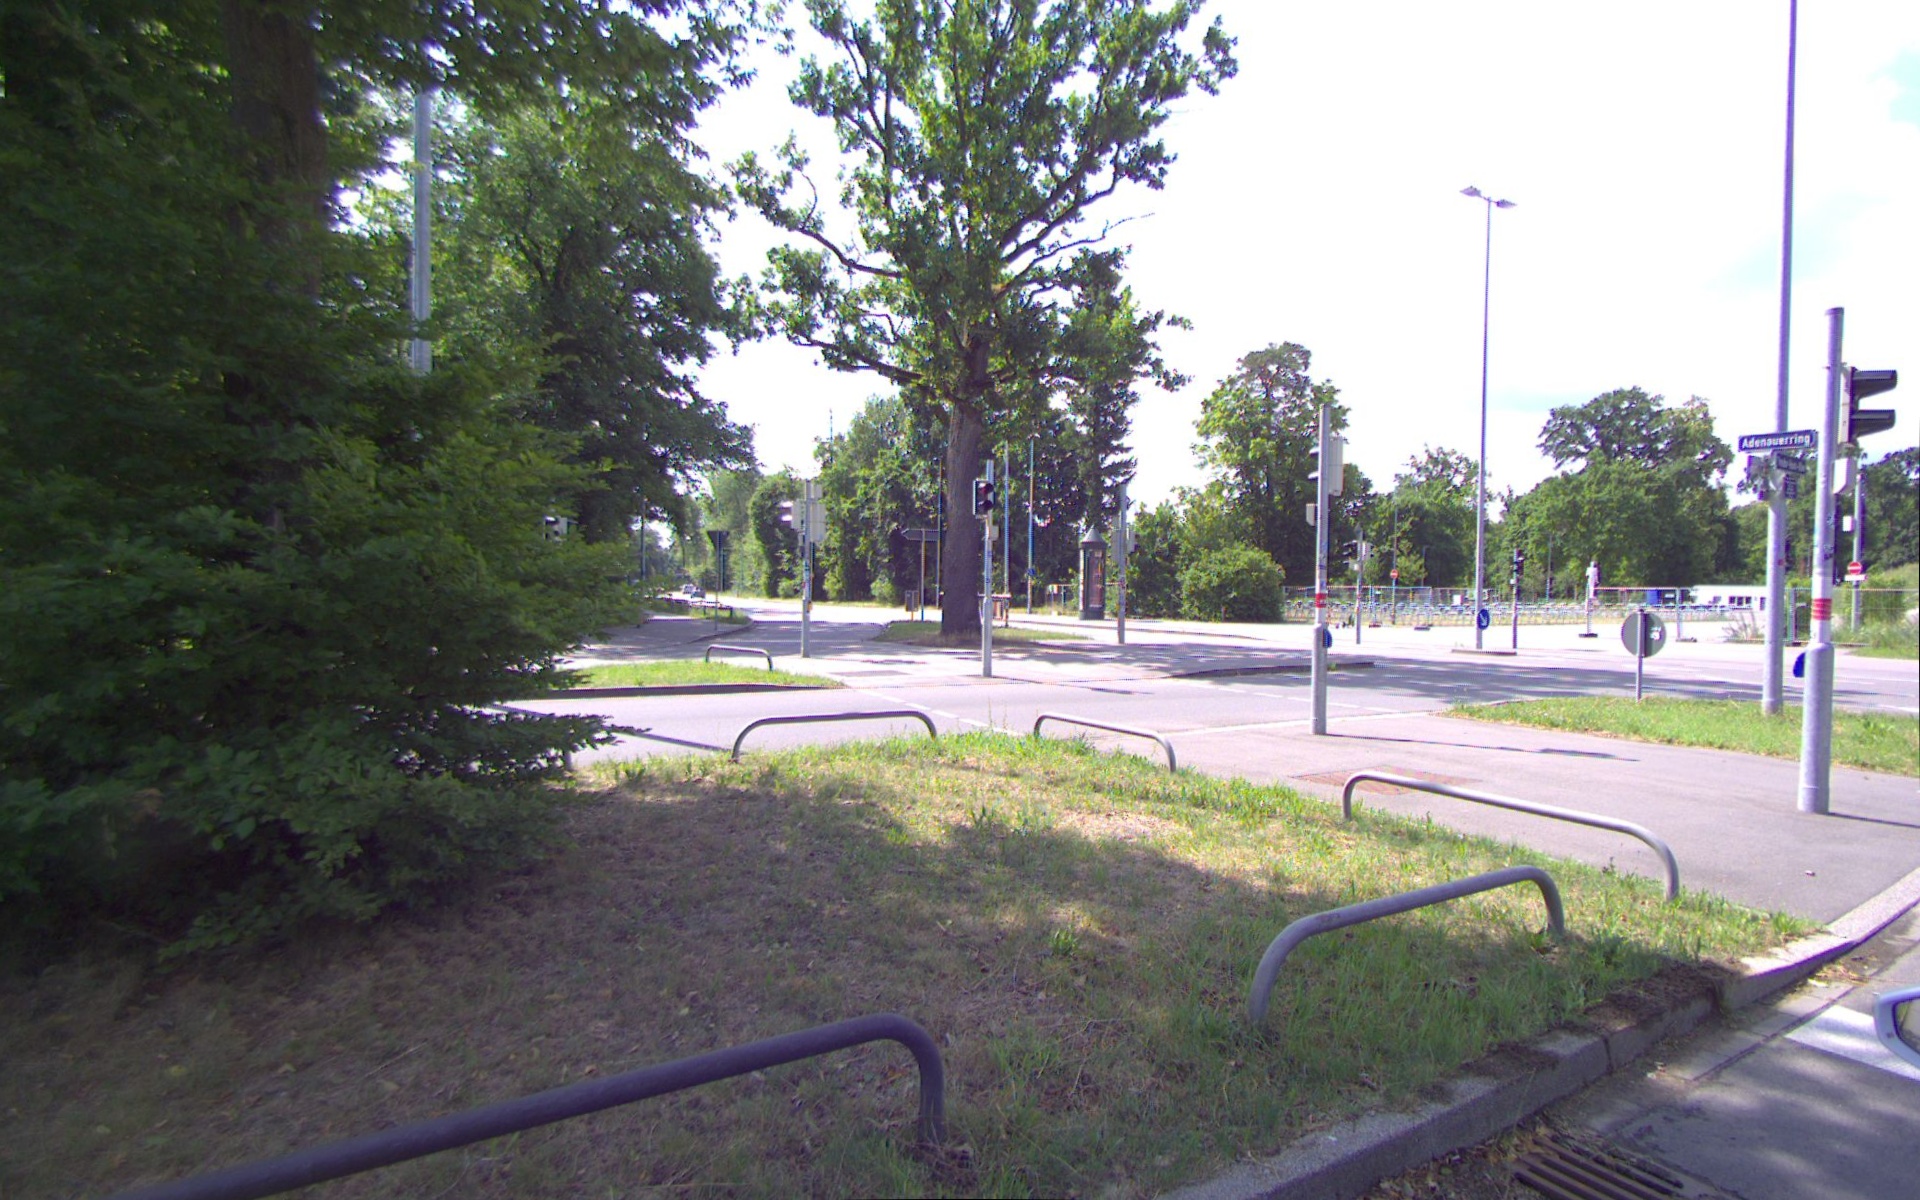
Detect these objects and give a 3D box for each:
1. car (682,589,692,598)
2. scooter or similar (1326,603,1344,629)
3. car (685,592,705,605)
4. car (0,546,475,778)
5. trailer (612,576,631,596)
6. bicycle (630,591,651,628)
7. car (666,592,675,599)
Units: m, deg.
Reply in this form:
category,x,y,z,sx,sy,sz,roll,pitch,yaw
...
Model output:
category,x,y,z,sx,sy,sz,roll,pitch,yaw
car,-53.377,-1.238,196.296,1.689,1.714,3.699,2,0,-19
scooter or similar,18.312,0.770,49.041,0.399,1.216,1.312,0,1,0
car,-34.594,-0.197,130.880,1.847,1.529,4.021,2,0,-25
car,-6.441,0.415,8.335,4.249,1.652,1.752,0,2,-30
trailer,-42.394,-1.762,125.739,1.971,2.420,3.979,2,0,-22
bicycle,-10.472,0.303,32.906,0.413,1.189,1.228,2,0,-8
car,-65.422,-0.966,226.890,1.809,1.514,4.090,2,0,-18
